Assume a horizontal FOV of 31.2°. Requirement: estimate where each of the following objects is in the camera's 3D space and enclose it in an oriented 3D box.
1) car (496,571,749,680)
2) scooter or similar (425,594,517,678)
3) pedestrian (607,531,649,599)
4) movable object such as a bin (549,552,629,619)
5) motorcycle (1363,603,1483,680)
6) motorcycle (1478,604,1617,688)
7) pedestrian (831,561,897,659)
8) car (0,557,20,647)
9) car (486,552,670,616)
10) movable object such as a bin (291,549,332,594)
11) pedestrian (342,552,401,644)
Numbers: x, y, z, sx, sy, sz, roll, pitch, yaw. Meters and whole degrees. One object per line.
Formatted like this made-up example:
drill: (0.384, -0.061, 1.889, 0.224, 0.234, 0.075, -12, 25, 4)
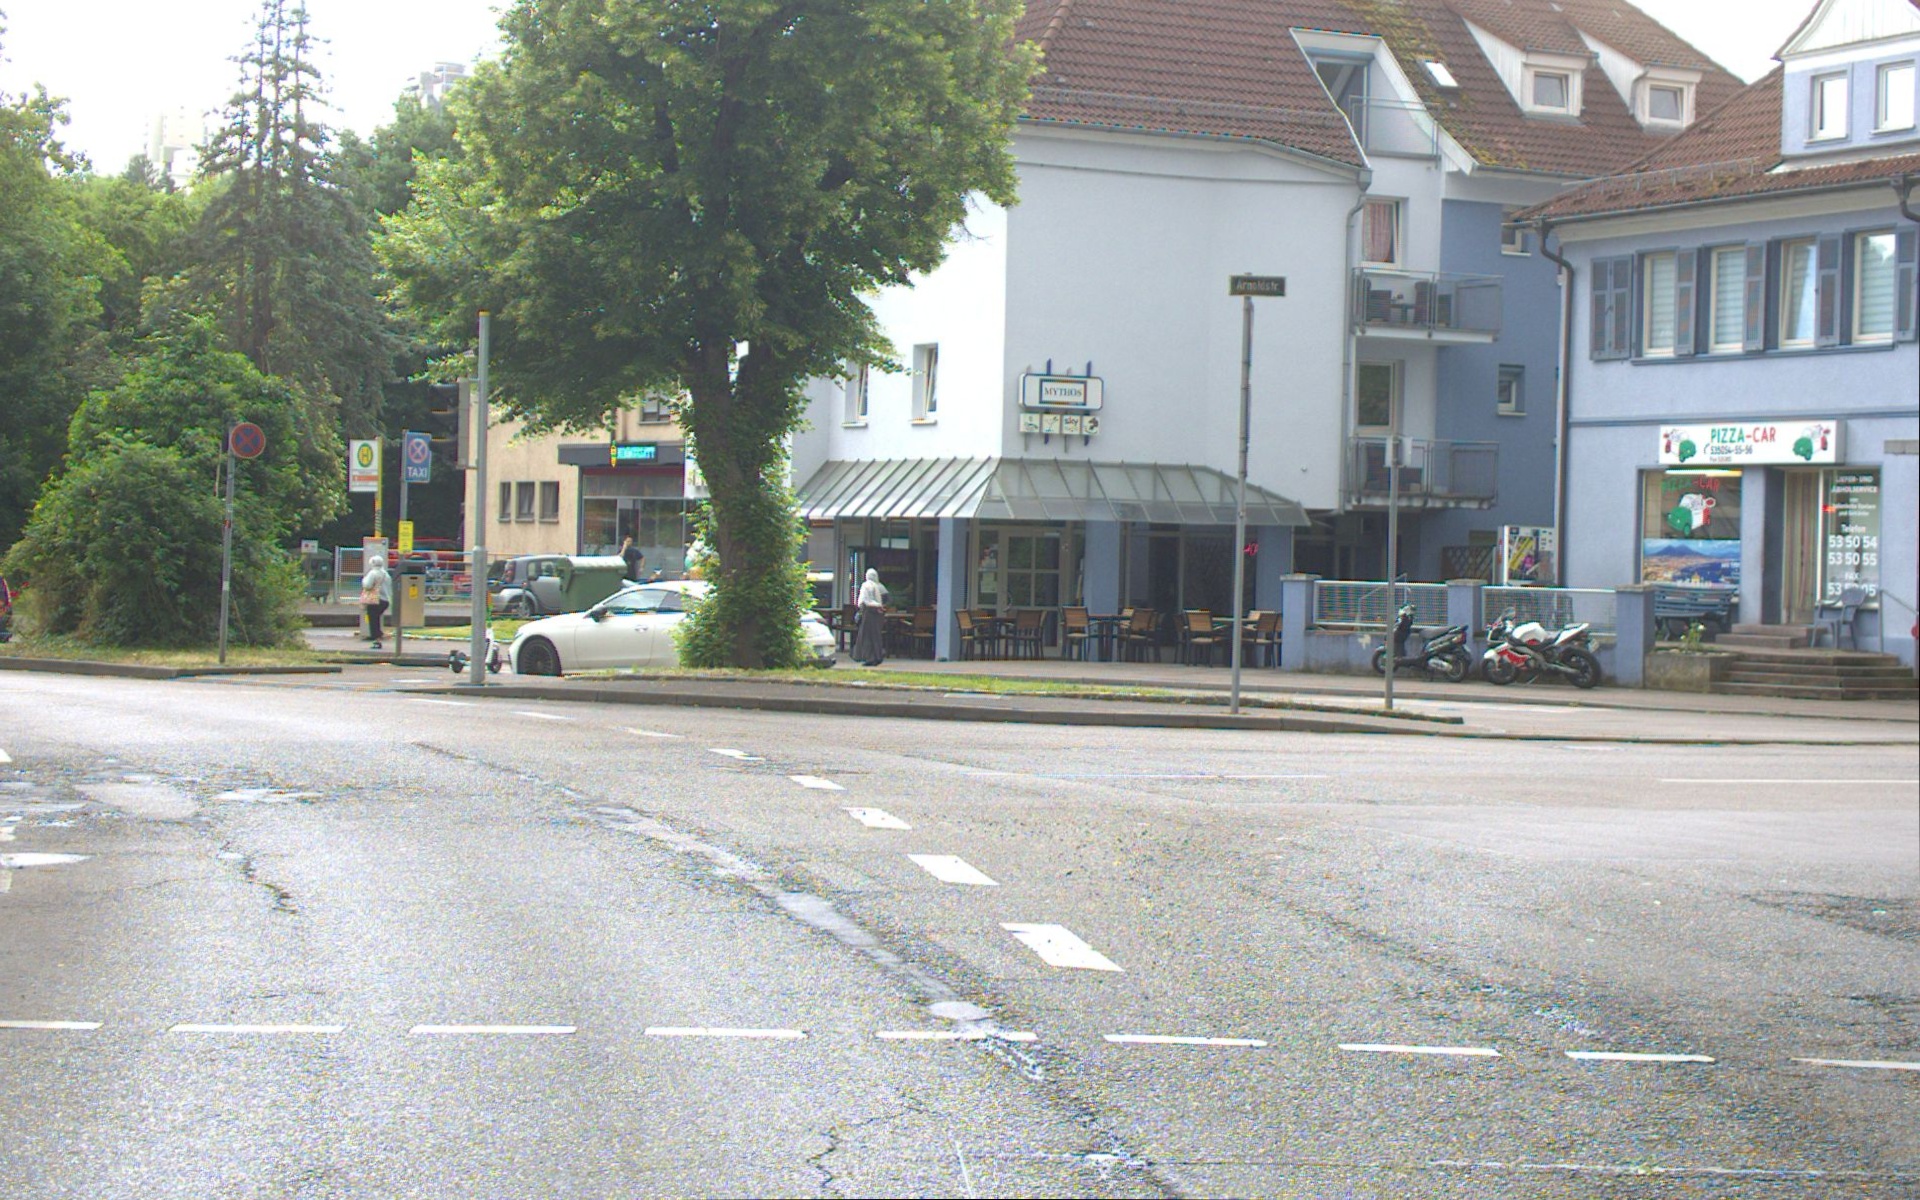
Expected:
car: (-4.531, 0.320, 46.040, 3.171, 1.350, 1.436, 2, 1, 35)
scooter or similar: (-6.059, 0.436, 42.647, 0.417, 1.008, 1.565, 1, 1, 20)
pedestrian: (-7.598, -0.811, 78.696, 0.676, 1.539, 0.708, 1, 1, -34)
movable object such as a bin: (-7.984, -0.316, 73.972, 1.440, 1.404, 0.967, 1, 1, -27)
motorcycle: (6.751, 0.600, 50.157, 1.636, 1.060, 0.693, 2, 1, 44)
motorcycle: (8.257, 0.637, 48.378, 1.798, 1.118, 0.693, 2, 1, 38)
pedestrian: (-1.522, 0.150, 54.751, 0.768, 1.539, 0.677, 1, 1, 39)
car: (-16.514, -0.007, 53.719, 3.590, 1.389, 1.469, 2, 1, 32)
car: (-8.427, -0.358, 75.869, 3.733, 1.340, 1.434, 1, 1, -26)
movable object such as a bin: (-16.249, -0.722, 86.164, 0.950, 1.111, 0.383, 1, 1, -21)
pedestrian: (-10.054, -0.034, 58.752, 0.707, 1.539, 0.677, 2, 1, 40)
